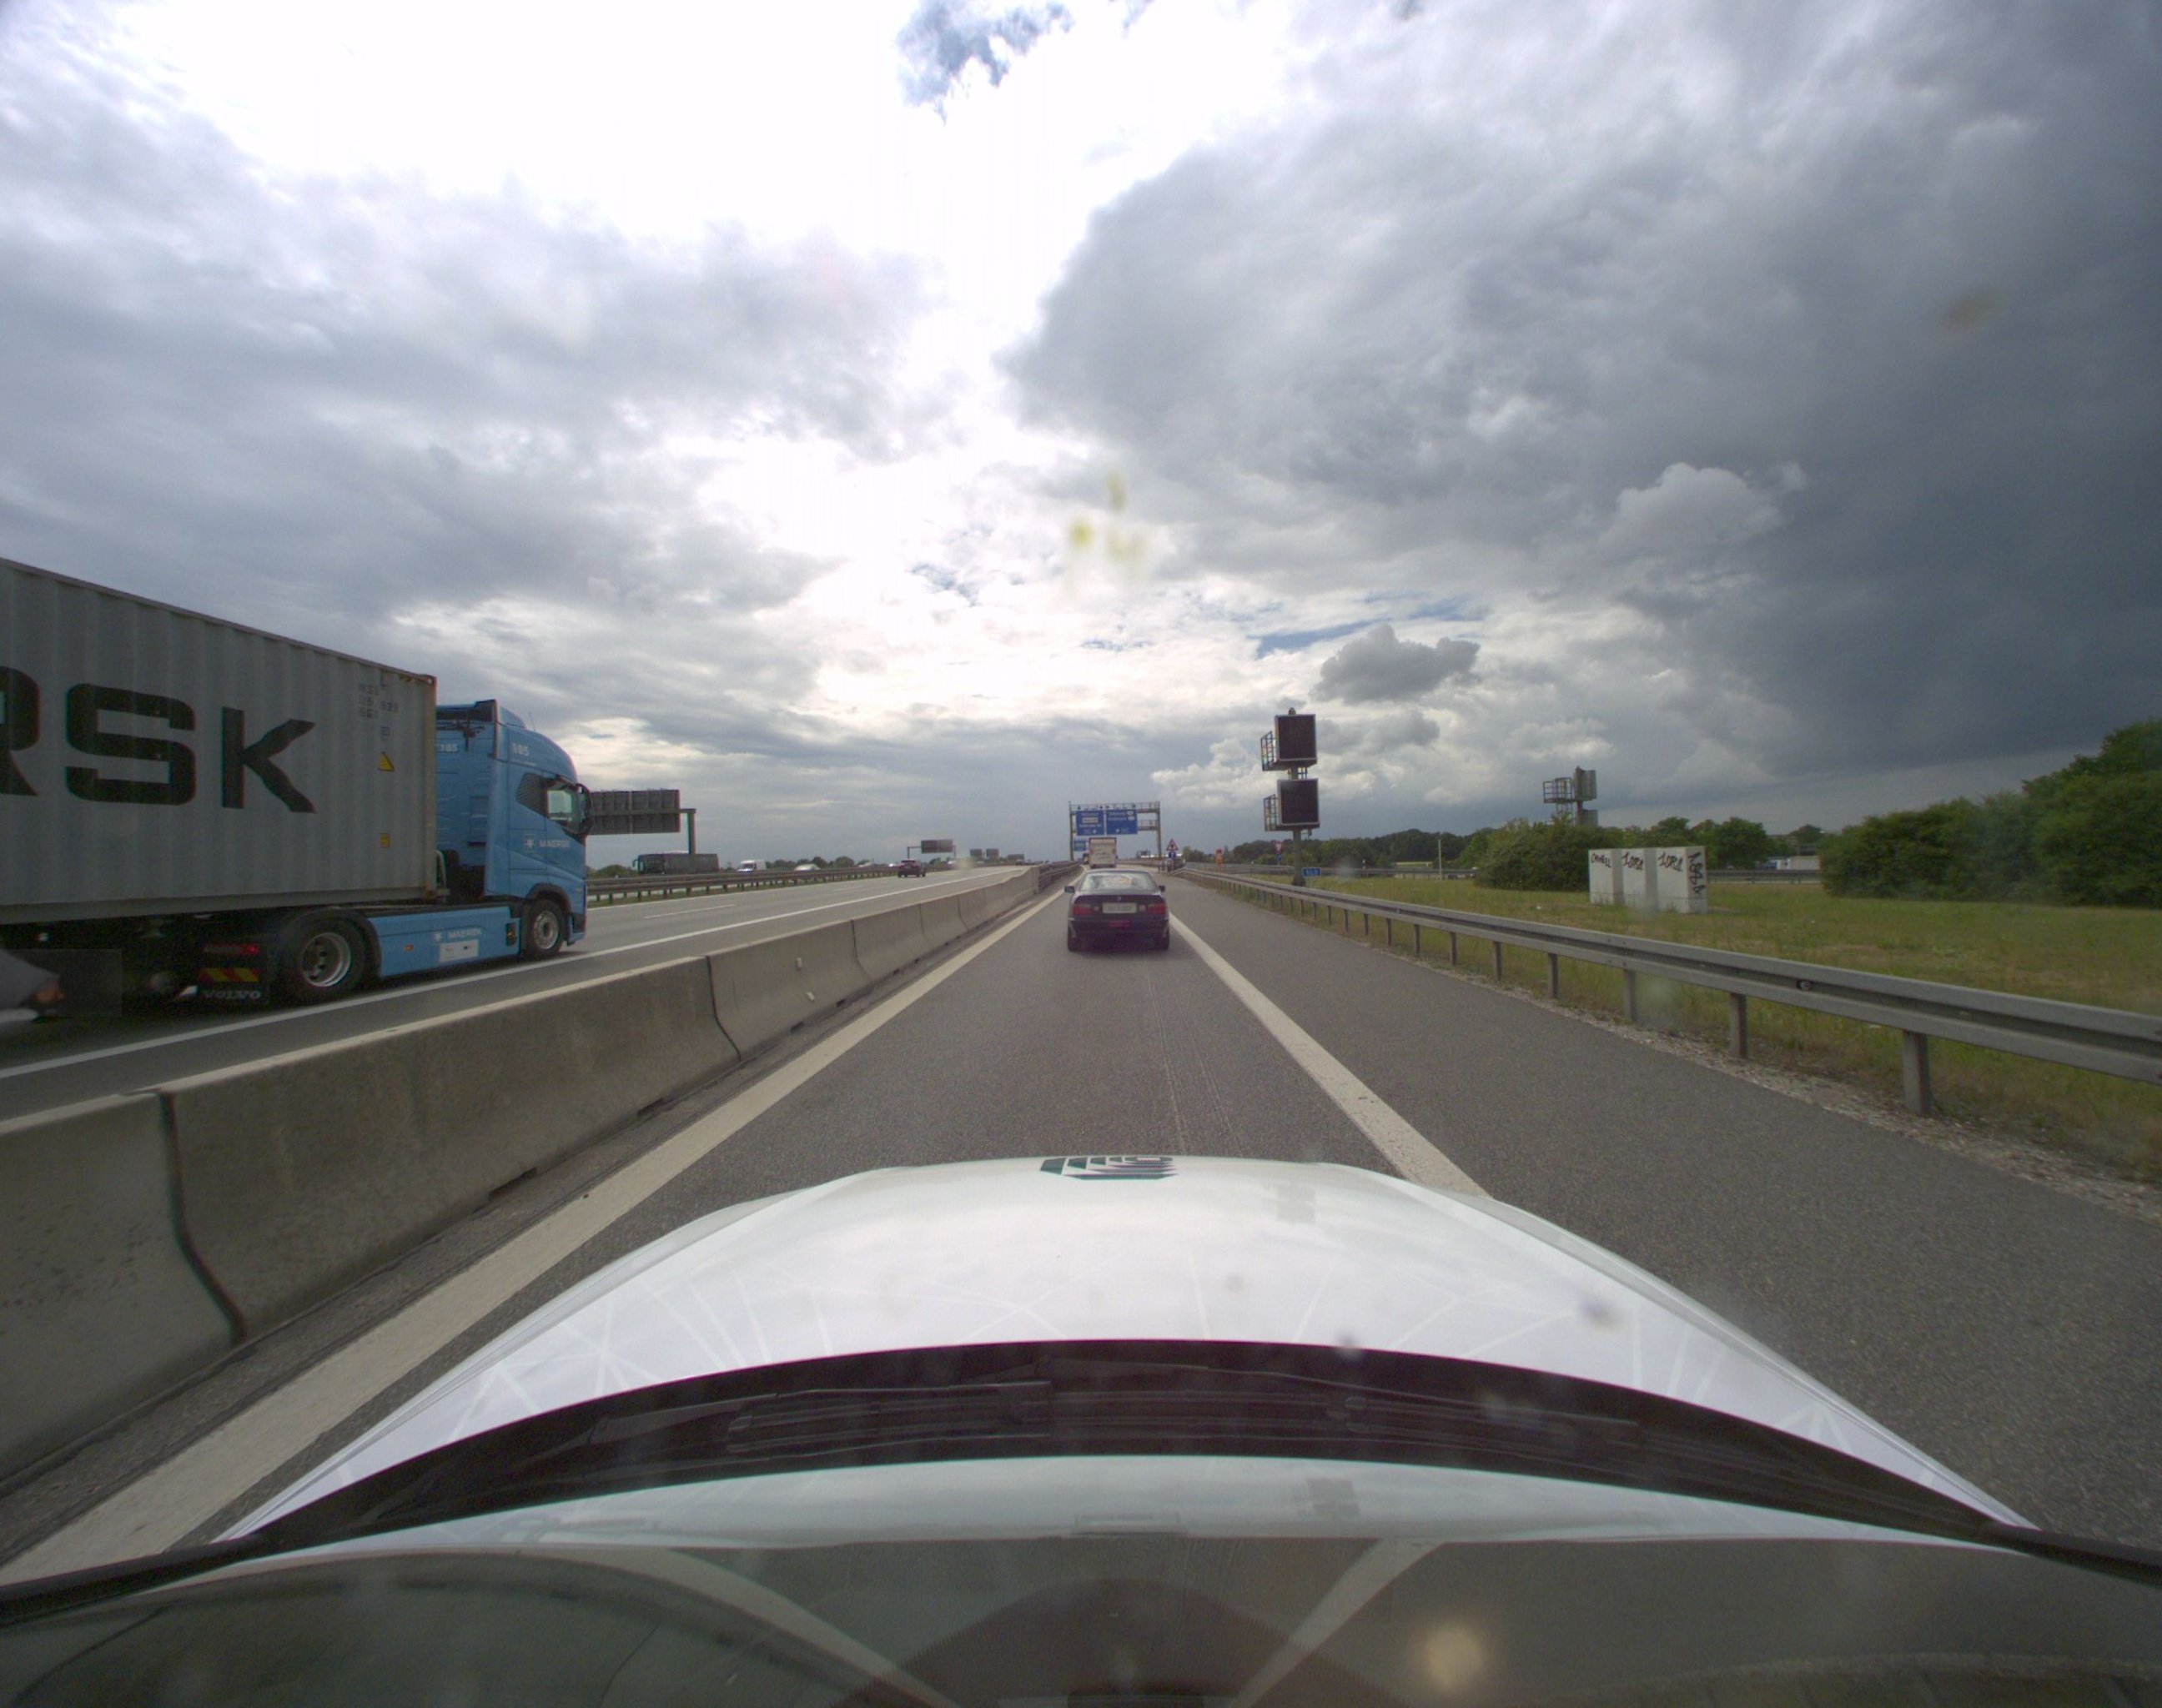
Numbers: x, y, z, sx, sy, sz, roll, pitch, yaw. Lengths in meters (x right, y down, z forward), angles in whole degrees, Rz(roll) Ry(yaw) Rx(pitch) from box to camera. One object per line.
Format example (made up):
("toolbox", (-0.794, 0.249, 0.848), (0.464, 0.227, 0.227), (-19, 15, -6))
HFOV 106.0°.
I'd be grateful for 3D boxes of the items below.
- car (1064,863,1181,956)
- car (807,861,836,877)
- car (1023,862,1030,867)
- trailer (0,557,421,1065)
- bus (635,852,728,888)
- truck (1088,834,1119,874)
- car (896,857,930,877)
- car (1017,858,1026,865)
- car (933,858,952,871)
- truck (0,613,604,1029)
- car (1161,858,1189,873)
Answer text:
("car", (0.730, 0.868, 14.520), (1.775, 1.378, 4.139), (-1, 0, 2))
("car", (-25.643, 1.476, 80.726), (1.518, 1.464, 4.001), (-1, 0, 1))
("car", (-17.116, 3.320, 256.841), (1.988, 1.541, 3.997), (-1, 0, -2))
("trailer", (-9.916, -0.345, 4.125), (3.227, 3.924, 12.373), (0, -1, -1))
("bus", (-40.814, 1.552, 83.990), (3.204, 3.442, 12.988), (0, 0, 0))
("truck", (1.849, 0.006, 67.819), (2.396, 3.090, 6.370), (-1, 0, 1))
("car", (-14.262, 1.092, 69.361), (1.886, 1.597, 4.418), (-1, 0, 1))
("car", (-15.695, 1.998, 214.983), (1.988, 1.662, 4.380), (-1, 0, -2))
("car", (-18.435, 1.351, 108.295), (1.661, 1.706, 4.002), (-1, 0, 2))
("truck", (-9.995, -0.301, 10.984), (3.237, 3.911, 6.607), (-1, 0, -1))
("car", (9.669, 1.152, 84.250), (1.992, 1.552, 3.990), (0, -1, -7))
